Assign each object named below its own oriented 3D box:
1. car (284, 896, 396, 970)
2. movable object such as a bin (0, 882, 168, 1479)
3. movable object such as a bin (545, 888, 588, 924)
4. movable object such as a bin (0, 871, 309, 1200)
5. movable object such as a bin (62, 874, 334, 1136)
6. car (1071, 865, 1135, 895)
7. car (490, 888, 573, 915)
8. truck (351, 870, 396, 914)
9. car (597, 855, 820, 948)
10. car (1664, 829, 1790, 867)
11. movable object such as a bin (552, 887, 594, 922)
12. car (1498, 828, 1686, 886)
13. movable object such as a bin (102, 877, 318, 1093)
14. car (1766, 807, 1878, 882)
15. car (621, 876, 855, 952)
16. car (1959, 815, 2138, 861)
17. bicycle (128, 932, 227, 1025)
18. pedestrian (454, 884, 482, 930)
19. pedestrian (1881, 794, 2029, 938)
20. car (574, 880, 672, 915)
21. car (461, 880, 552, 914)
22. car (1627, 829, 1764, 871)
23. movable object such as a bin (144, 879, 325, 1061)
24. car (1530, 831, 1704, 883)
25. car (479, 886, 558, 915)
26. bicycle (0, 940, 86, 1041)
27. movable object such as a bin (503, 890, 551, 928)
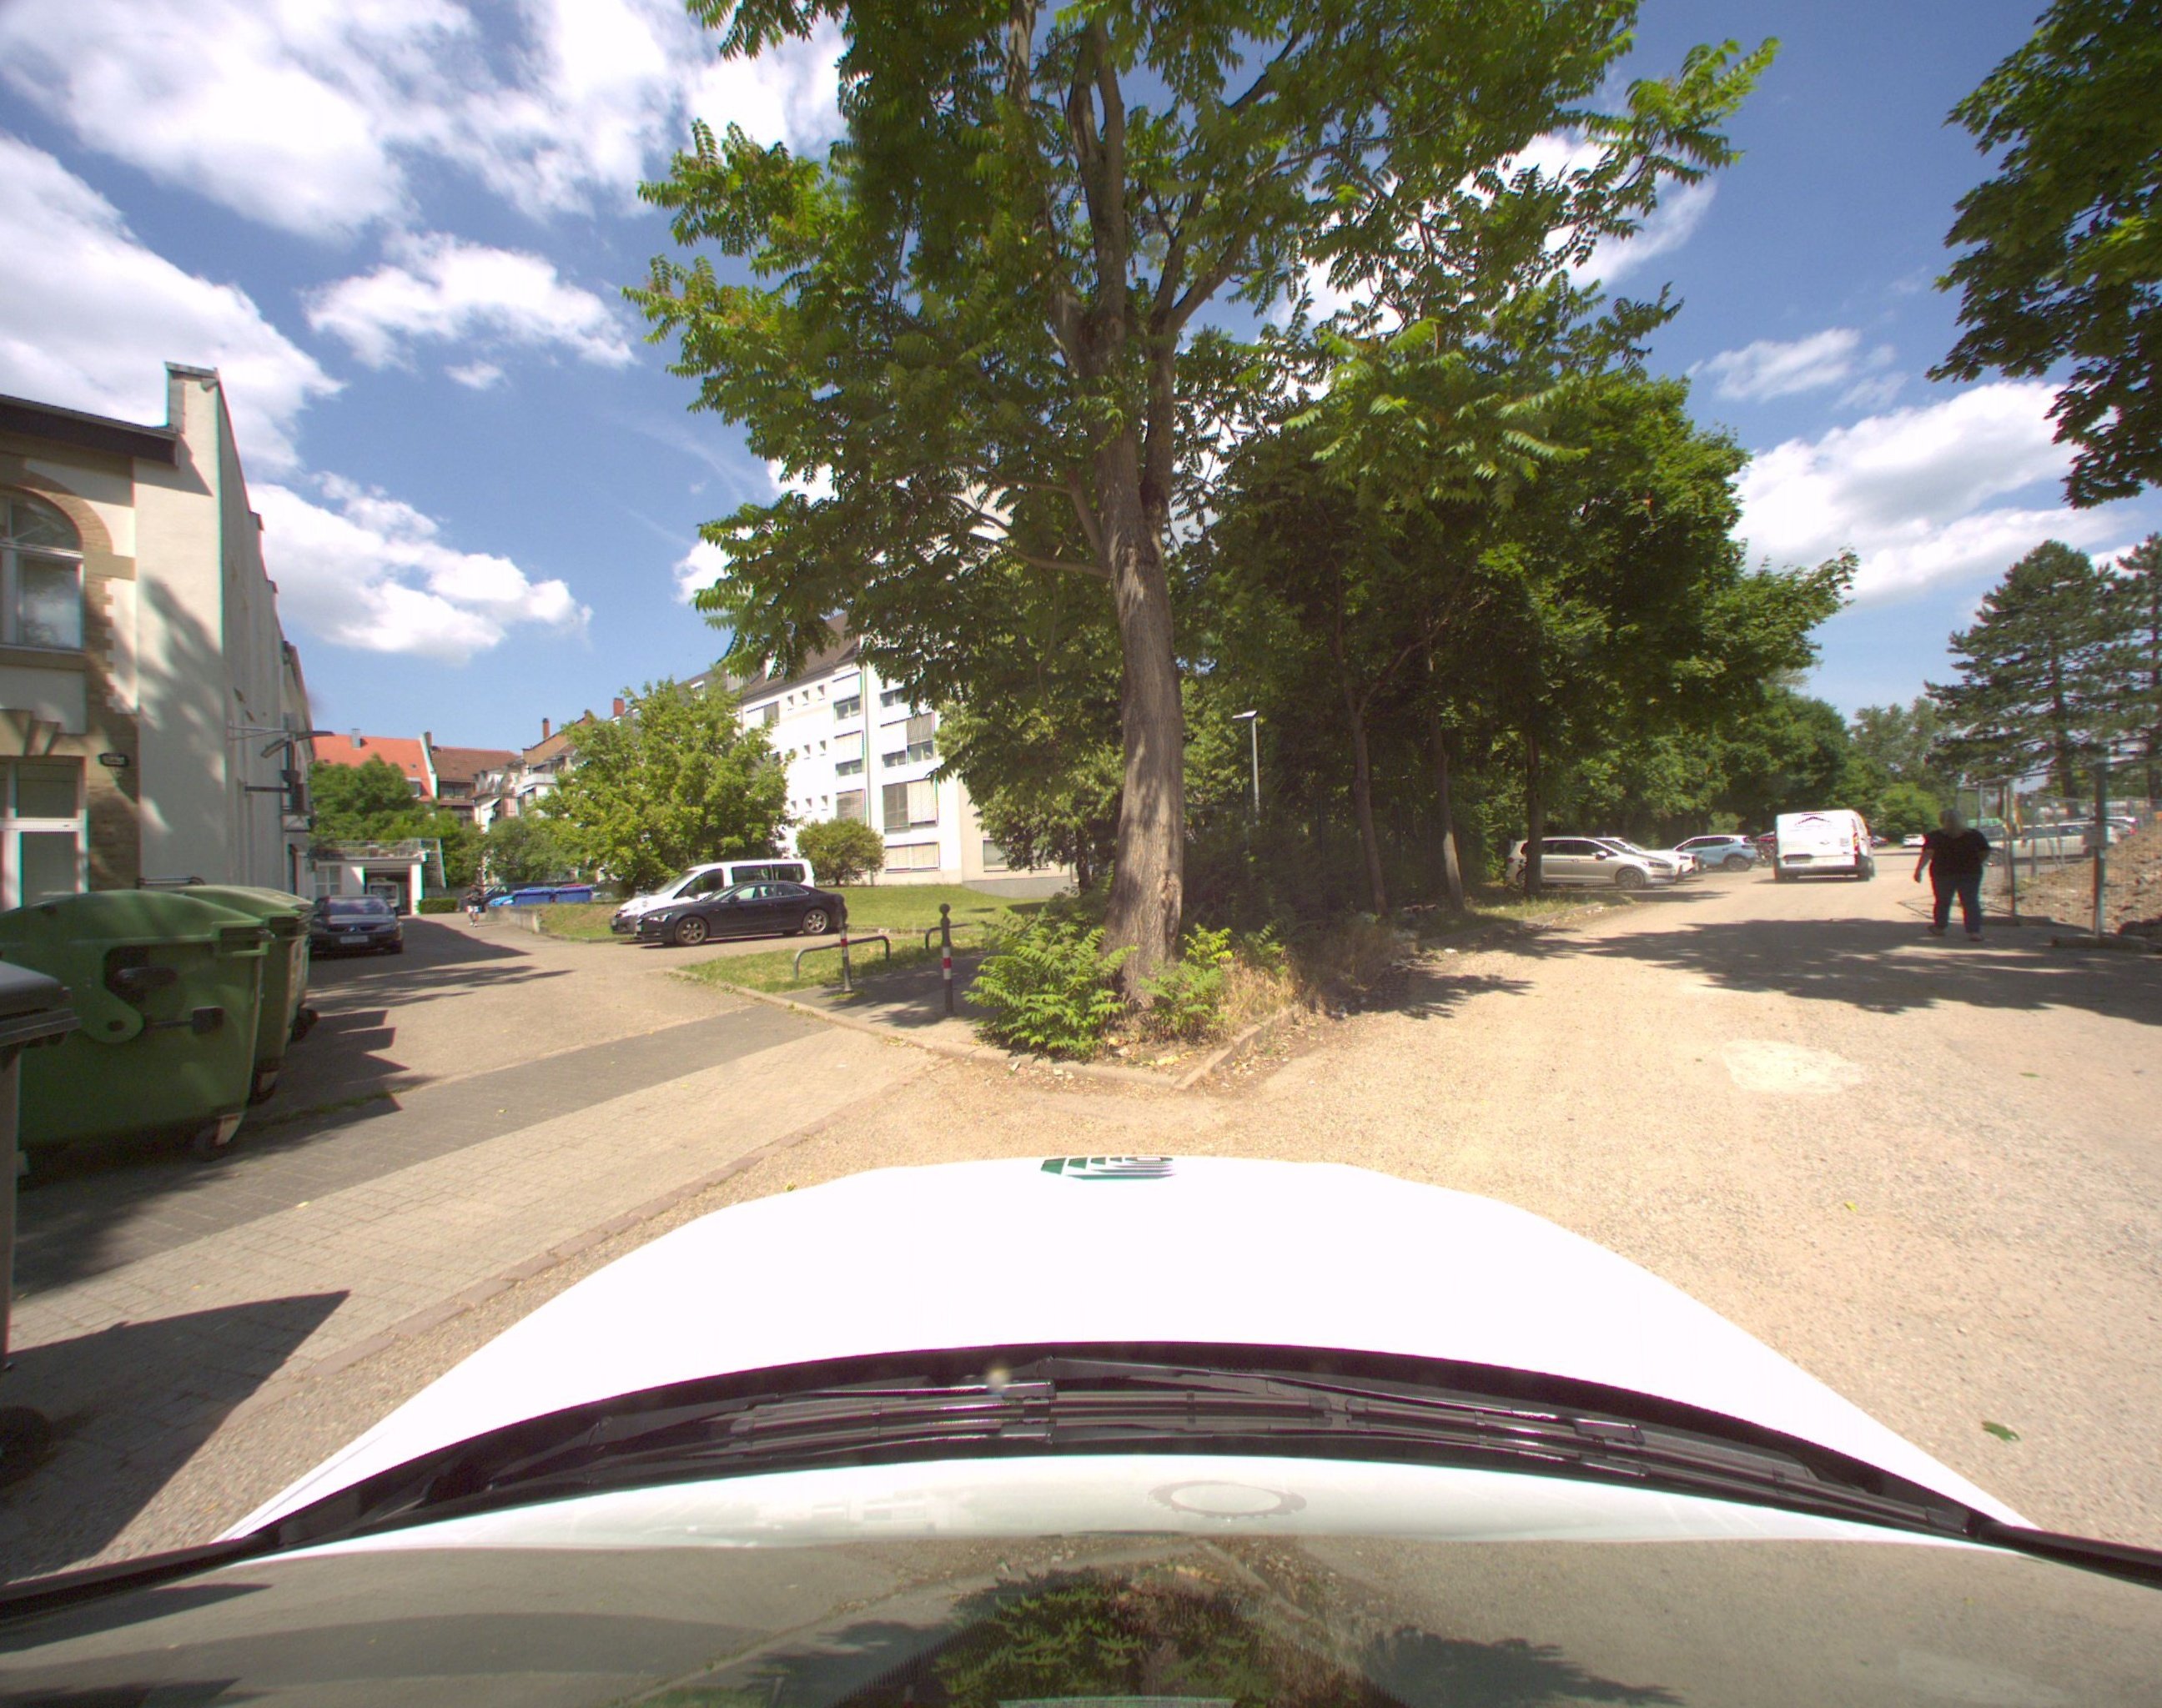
[{"bbox_3d":[-17.467,1.760,19.301,1.770,1.430,4.333,-2,-1,-41],"label":"car"},{"bbox_3d":[-3.077,0.792,1.687,1.116,1.394,1.153,-3,-1,-19],"label":"movable object such as a bin"},{"bbox_3d":[-20.265,2.041,32.075,1.226,1.327,1.147,-2,-1,-40],"label":"movable object such as a bin"},{"bbox_3d":[-5.199,0.876,4.545,1.308,1.479,1.215,-3,-1,45],"label":"movable object such as a bin"},{"bbox_3d":[-6.047,0.917,5.582,1.342,1.479,1.103,-3,-1,37],"label":"movable object such as a bin"},{"bbox_3d":[1.344,1.555,48.659,3.649,1.621,1.653,-2,-1,-42],"label":"car"},{"bbox_3d":[-34.599,2.985,51.318,4.023,1.390,1.782,-2,-1,-44],"label":"car"},{"bbox_3d":[-50.060,2.726,57.608,4.593,2.937,1.805,-4,-2,42],"label":"truck"},{"bbox_3d":[-9.493,1.137,20.999,4.802,2.014,1.975,-2,-2,-43],"label":"car"},{"bbox_3d":[31.063,-0.269,39.277,1.947,1.598,4.465,-2,-1,-42],"label":"car"},{"bbox_3d":[-20.978,2.075,33.615,1.227,1.327,1.146,-2,-1,-44],"label":"movable object such as a bin"},{"bbox_3d":[15.589,0.170,25.022,2.011,1.609,4.466,1,-3,-42],"label":"car"},{"bbox_3d":[-6.959,0.962,6.606,1.053,1.479,1.246,-2,-1,-42],"label":"movable object such as a bin"},{"bbox_3d":[21.731,-0.292,23.812,4.607,1.947,1.955,-2,-1,-43],"label":"car"},{"bbox_3d":[-7.822,1.299,18.878,4.652,1.352,1.811,-2,-1,-43],"label":"car"},{"bbox_3d":[34.135,-0.544,28.908,2.011,1.420,3.952,-2,-1,-41],"label":"car"},{"bbox_3d":[-11.490,1.541,10.402,0.617,0.958,1.709,-2,-1,-41],"label":"bicycle"},{"bbox_3d":[-24.050,2.076,31.942,0.764,1.755,0.742,-2,-1,-42],"label":"pedestrian"},{"bbox_3d":[10.752,0.139,10.085,1.025,1.650,1.056,-3,0,37],"label":"pedestrian"},{"bbox_3d":[-23.370,2.176,41.617,4.023,1.478,1.782,-2,-1,-44],"label":"car"},{"bbox_3d":[-39.006,2.918,55.355,4.720,1.958,2.051,-2,-1,-44],"label":"car"},{"bbox_3d":[26.669,-0.157,35.450,1.735,1.597,4.465,-3,0,-43],"label":"car"},{"bbox_3d":[-7.927,1.009,7.718,1.053,1.479,1.393,-2,-1,-42],"label":"movable object such as a bin"},{"bbox_3d":[17.479,0.134,26.730,1.735,1.531,4.465,-2,-1,-43],"label":"car"},{"bbox_3d":[-36.782,3.018,53.311,4.023,1.534,1.782,-2,-1,-44],"label":"car"},{"bbox_3d":[-12.503,1.574,9.580,0.610,0.958,2.233,-2,-1,-41],"label":"bicycle"},{"bbox_3d":[-21.178,2.087,31.133,1.350,1.327,1.147,-2,-1,-40],"label":"movable object such as a bin"}]
